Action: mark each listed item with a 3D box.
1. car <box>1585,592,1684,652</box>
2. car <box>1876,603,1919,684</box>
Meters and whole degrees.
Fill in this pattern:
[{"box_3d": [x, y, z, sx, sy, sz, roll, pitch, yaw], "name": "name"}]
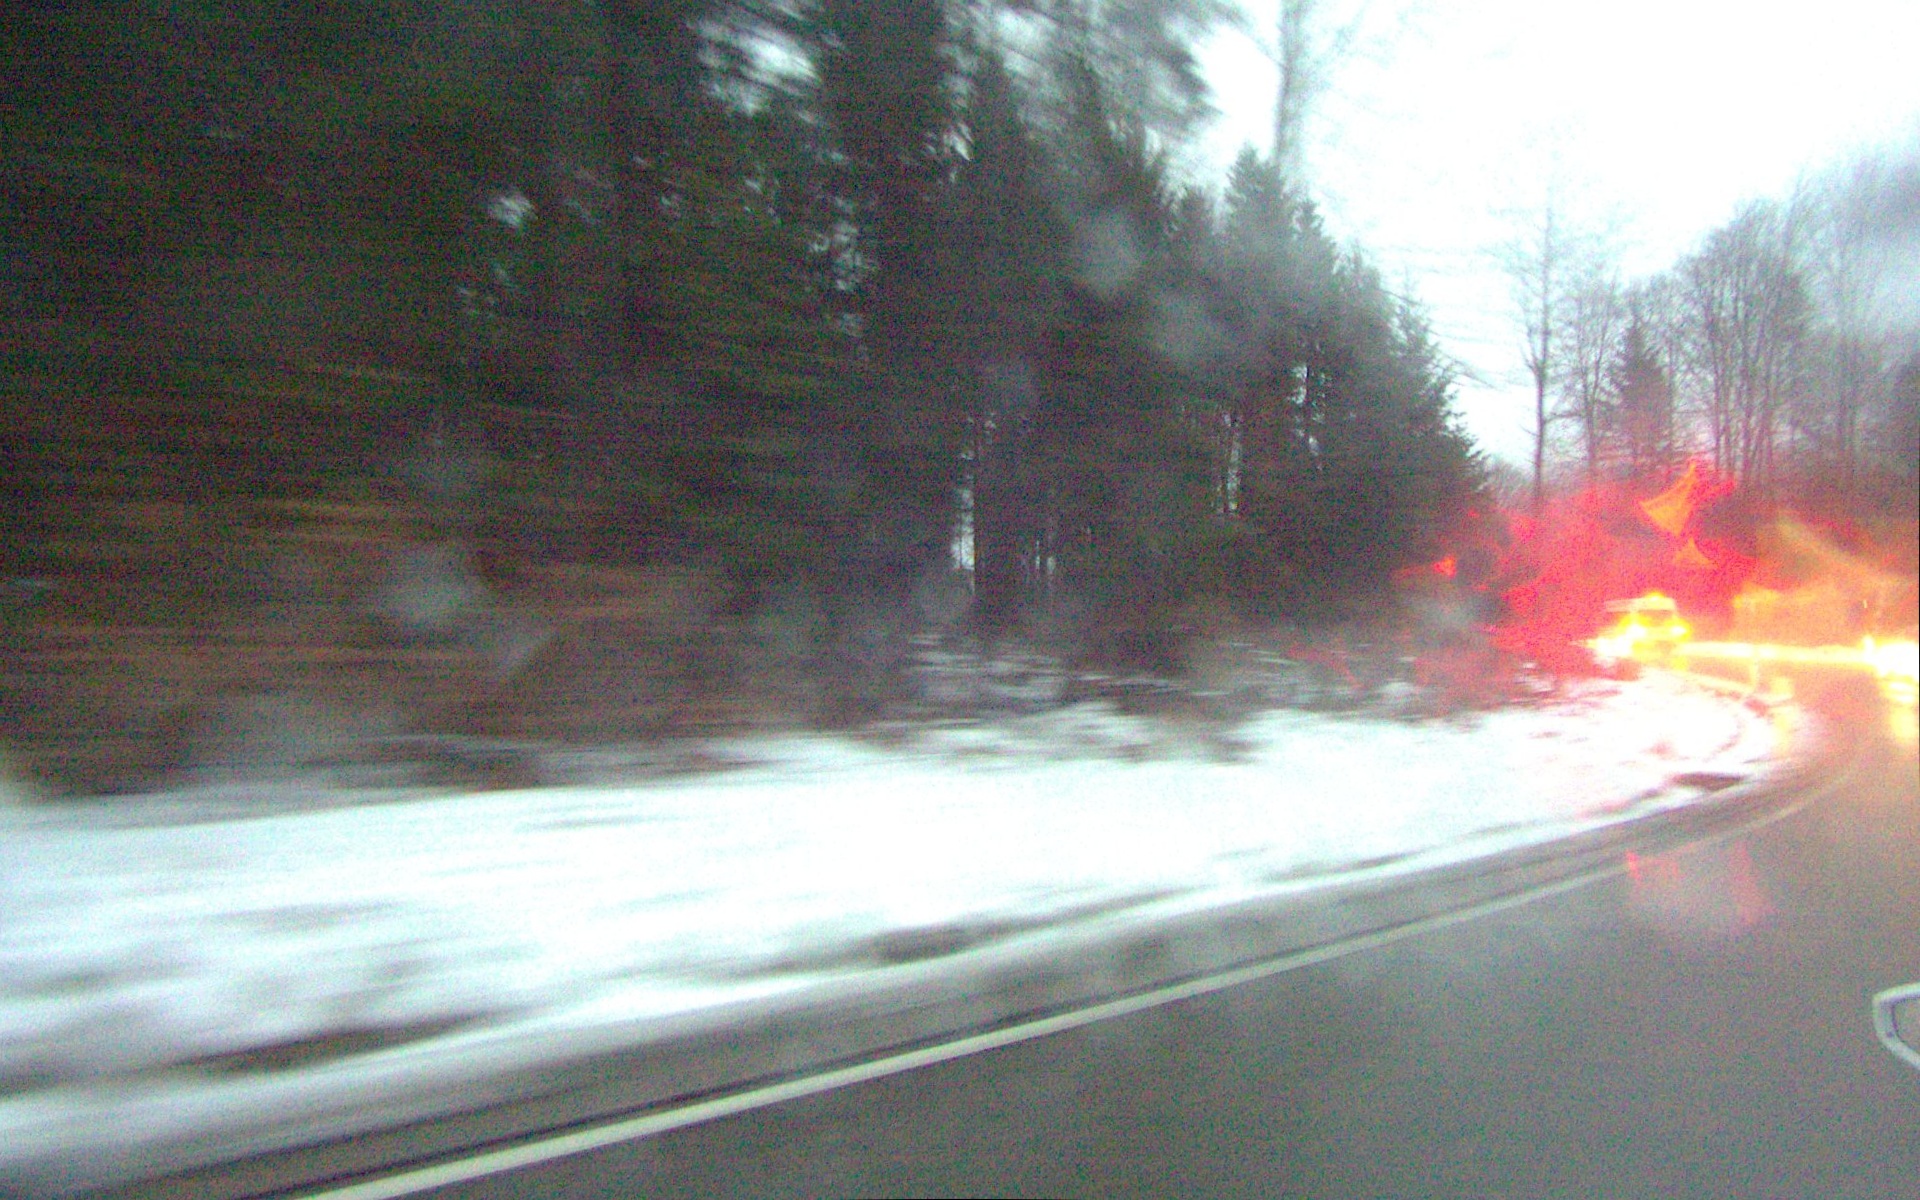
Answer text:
[{"box_3d": [32.460, 1.076, 48.508, 2.214, 2.680, 5.009, -1, -2, 12], "name": "car"}, {"box_3d": [26.145, 1.144, 26.993, 1.970, 2.078, 3.982, -3, -4, 39], "name": "car"}]
